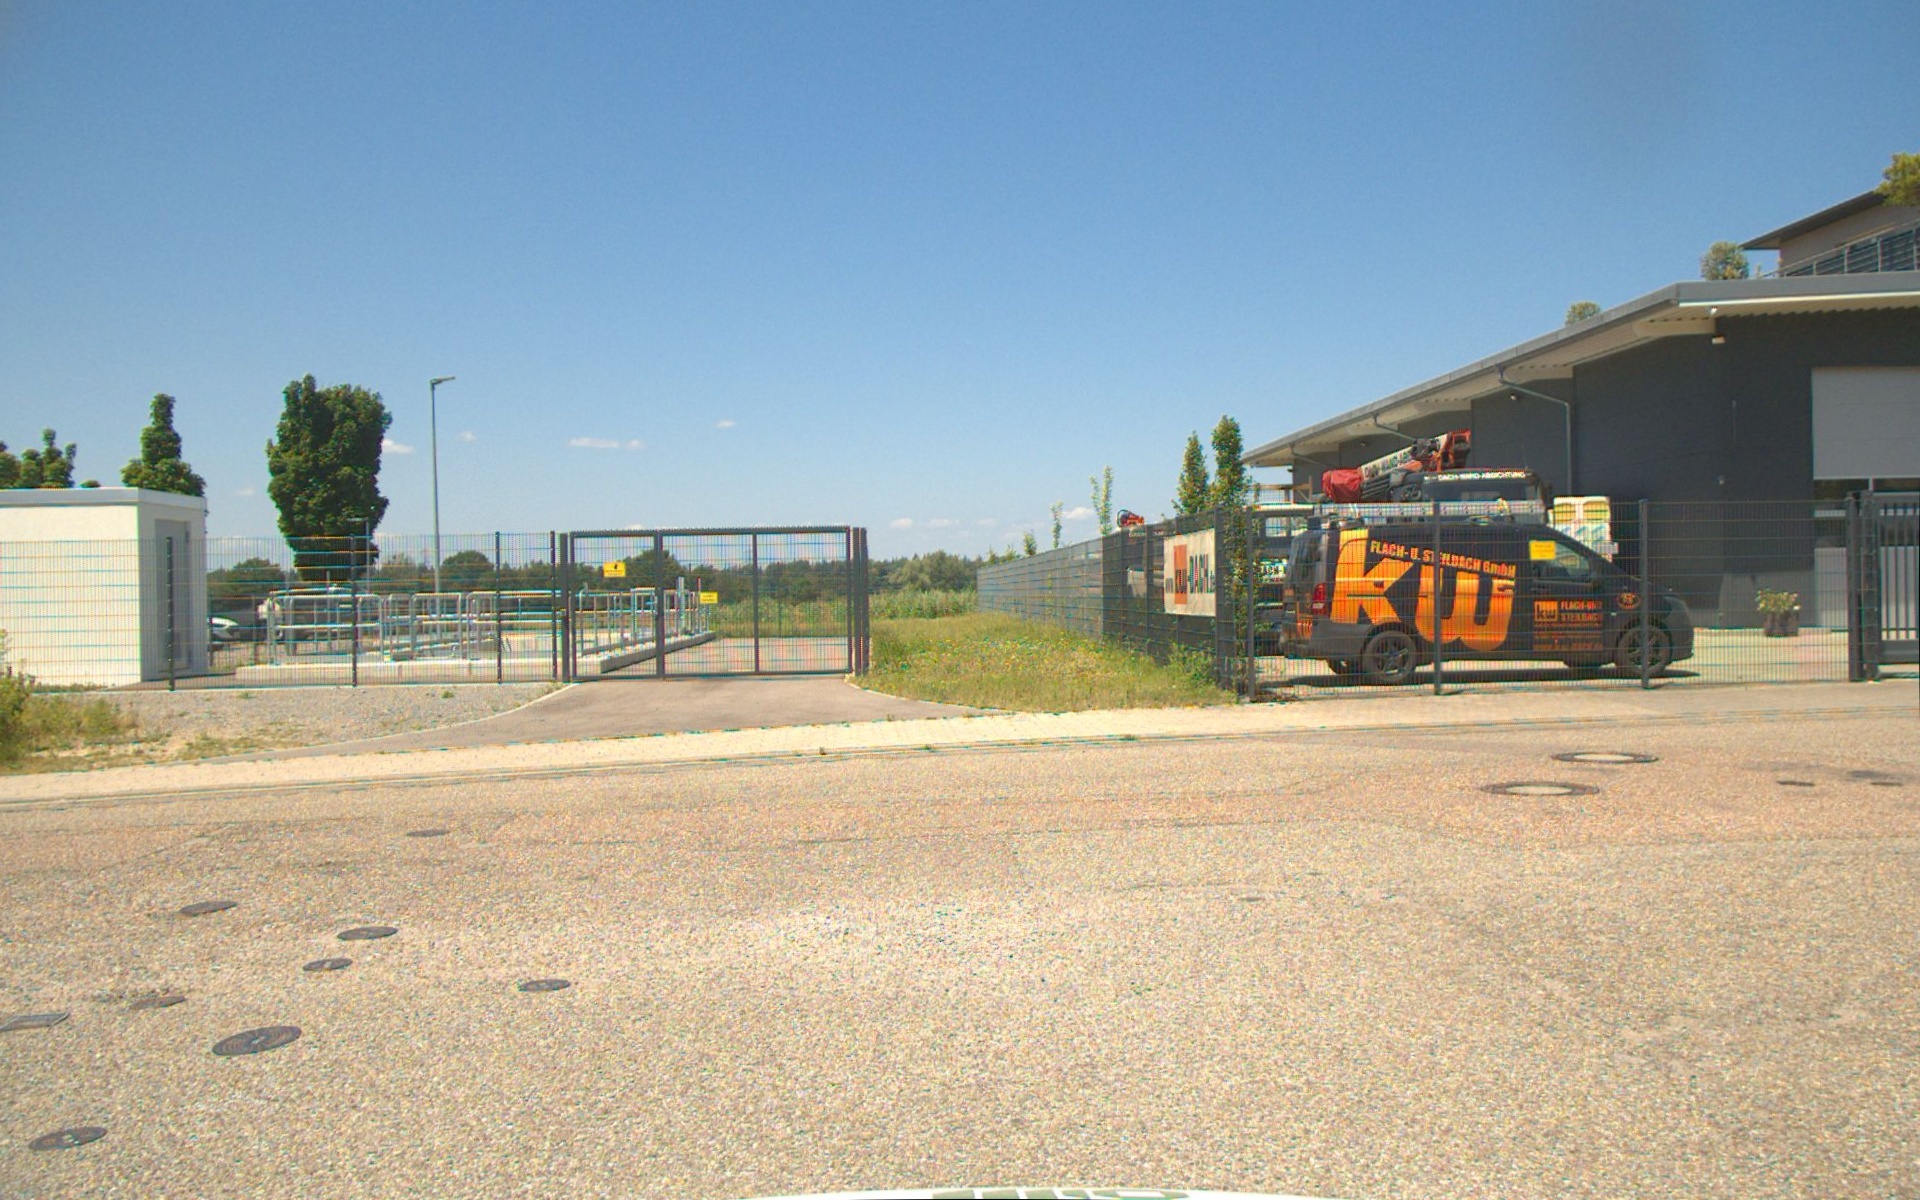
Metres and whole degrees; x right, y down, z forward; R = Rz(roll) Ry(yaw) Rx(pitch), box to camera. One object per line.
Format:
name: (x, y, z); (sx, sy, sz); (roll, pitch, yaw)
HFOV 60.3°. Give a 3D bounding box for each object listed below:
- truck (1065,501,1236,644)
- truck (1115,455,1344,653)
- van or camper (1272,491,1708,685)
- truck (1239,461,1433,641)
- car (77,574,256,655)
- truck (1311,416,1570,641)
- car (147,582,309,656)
truck: (4.318, -0.617, 39.011); (2.863, 2.989, 6.932); (-2, 0, -3)
truck: (4.650, -0.760, 30.007); (2.672, 3.115, 6.932); (-2, 0, -3)
van or camper: (6.588, -0.178, 20.909); (4.838, 2.201, 1.999); (-2, 1, -3)
truck: (9.114, -1.141, 40.950); (2.863, 3.998, 6.932); (-2, 0, -3)
car: (-21.737, 0.379, 45.442); (3.907, 2.049, 1.999); (-2, 0, -2)
truck: (9.436, -1.313, 33.375); (2.863, 3.998, 6.932); (-2, 0, -3)
car: (-21.855, 0.550, 49.492); (3.907, 2.049, 1.999); (-2, 0, -2)
